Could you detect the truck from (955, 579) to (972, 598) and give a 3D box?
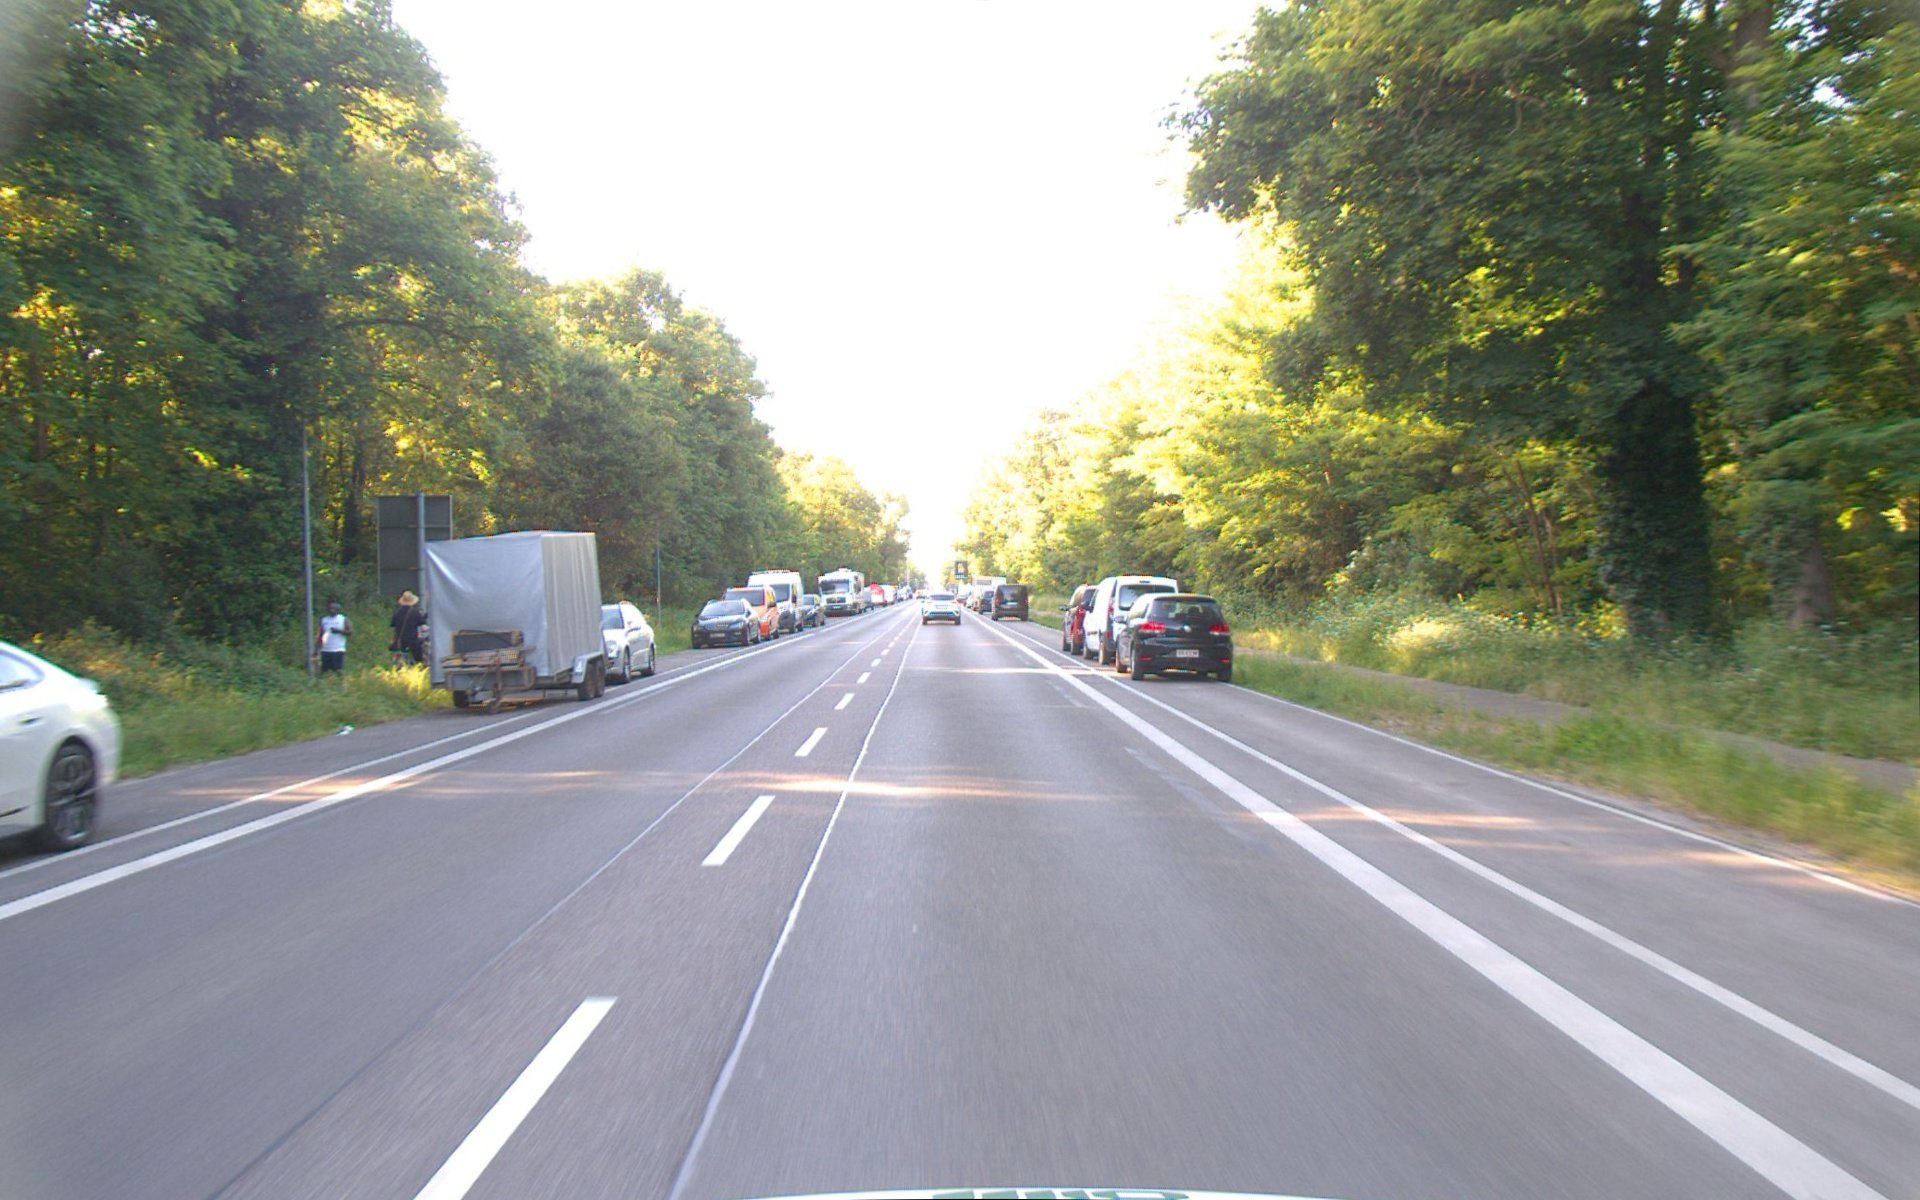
[{"bbox_3d":[0.466,-1.622,225.138,2.054,2.495,5.679,-1,0,-1],"label":"truck"}]

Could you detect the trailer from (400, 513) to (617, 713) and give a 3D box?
[{"bbox_3d":[-6.669,0.159,24.957,1.953,2.642,4.415,-3,0,-1],"label":"trailer"}]

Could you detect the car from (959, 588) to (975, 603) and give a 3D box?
[{"bbox_3d":[0.699,-0.461,170.214,1.622,1.504,3.753,-1,0,-1],"label":"car"}]

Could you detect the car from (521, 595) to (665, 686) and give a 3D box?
[{"bbox_3d":[-6.794,0.701,31.099,1.761,1.479,4.623,-3,0,-2],"label":"car"}]

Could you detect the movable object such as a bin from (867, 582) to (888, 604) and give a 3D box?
[{"bbox_3d":[-9.582,-0.818,191.666,2.275,2.545,3.999,-1,0,-1],"label":"movable object such as a bin"}]

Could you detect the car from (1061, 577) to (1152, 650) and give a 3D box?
[{"bbox_3d":[3.552,0.303,40.811,1.797,1.689,4.337,1,0,-1],"label":"car"}]

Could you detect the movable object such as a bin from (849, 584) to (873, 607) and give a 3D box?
[{"bbox_3d":[-9.126,-0.443,152.777,1.914,2.049,3.999,-1,0,-1],"label":"movable object such as a bin"}]

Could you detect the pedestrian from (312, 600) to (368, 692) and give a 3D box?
[{"bbox_3d":[-11.242,0.830,30.008,0.743,1.635,0.716,-1,0,-1],"label":"pedestrian"}]

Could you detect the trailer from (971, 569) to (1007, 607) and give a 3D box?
[{"bbox_3d":[2.332,-0.993,134.073,2.701,2.920,6.587,-1,0,-1],"label":"trailer"}]

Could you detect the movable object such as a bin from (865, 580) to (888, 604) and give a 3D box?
[{"bbox_3d":[-8.965,-0.853,177.082,2.275,2.545,3.999,-1,0,-1],"label":"movable object such as a bin"}]

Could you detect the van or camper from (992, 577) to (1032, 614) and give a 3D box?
[{"bbox_3d":[2.760,-0.252,89.321,1.953,1.966,5.198,0,0,-1],"label":"van or camper"}]

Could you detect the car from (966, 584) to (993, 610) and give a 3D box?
[{"bbox_3d":[1.311,-0.217,111.983,1.803,1.691,4.000,0,0,0],"label":"car"}]

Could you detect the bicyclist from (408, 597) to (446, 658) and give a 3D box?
[{"bbox_3d":[-11.153,0.563,34.649,0.477,1.256,0.974,-1,0,-1],"label":"bicyclist"}]

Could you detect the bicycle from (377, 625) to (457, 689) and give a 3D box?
[{"bbox_3d":[-9.622,0.987,29.387,0.638,1.026,2.396,-1,0,-1],"label":"bicycle"}]

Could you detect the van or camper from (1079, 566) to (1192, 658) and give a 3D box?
[{"bbox_3d":[3.720,0.230,35.676,1.911,1.847,4.380,-1,0,-1],"label":"van or camper"}]

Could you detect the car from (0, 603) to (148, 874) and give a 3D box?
[{"bbox_3d":[-6.508,0.866,9.210,1.739,1.567,4.523,-3,0,-1],"label":"car"}]

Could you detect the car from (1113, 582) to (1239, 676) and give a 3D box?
[{"bbox_3d":[3.775,0.469,29.473,1.656,1.551,4.149,0,0,-1],"label":"car"}]

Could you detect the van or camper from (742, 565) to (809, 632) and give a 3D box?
[{"bbox_3d":[-7.690,-0.101,69.549,2.077,2.617,6.541,-2,0,-1],"label":"van or camper"}]

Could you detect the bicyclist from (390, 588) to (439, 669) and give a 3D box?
[{"bbox_3d":[-9.653,0.491,29.272,0.592,1.398,0.799,-1,0,-1],"label":"bicyclist"}]

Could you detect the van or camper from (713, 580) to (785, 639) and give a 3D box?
[{"bbox_3d":[-7.380,0.304,58.252,1.884,1.899,4.862,-3,0,-1],"label":"van or camper"}]

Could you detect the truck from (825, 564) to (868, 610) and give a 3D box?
[{"bbox_3d":[-8.809,-1.032,129.705,2.652,3.406,10.922,-1,0,-1],"label":"truck"}]

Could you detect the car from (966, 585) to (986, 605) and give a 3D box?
[{"bbox_3d":[1.447,-0.483,150.060,1.697,1.713,3.999,-1,0,-1],"label":"car"}]

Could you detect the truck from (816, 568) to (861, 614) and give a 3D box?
[{"bbox_3d":[-8.614,-0.648,117.977,2.652,3.147,7.988,-1,0,-1],"label":"truck"}]

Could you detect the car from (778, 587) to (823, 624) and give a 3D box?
[{"bbox_3d":[-7.849,0.259,81.645,1.745,1.713,4.377,-3,0,-1],"label":"car"}]

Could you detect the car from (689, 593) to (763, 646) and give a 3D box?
[{"bbox_3d":[-7.310,0.576,52.001,1.696,1.503,4.324,-3,0,-1],"label":"car"}]

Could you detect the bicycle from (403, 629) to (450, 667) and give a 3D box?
[{"bbox_3d":[-11.146,0.996,34.607,0.511,0.725,1.487,-1,0,-1],"label":"bicycle"}]

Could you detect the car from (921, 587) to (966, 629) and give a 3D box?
[{"bbox_3d":[-0.775,0.354,77.854,1.987,1.872,4.028,-1,1,-1],"label":"car"}]

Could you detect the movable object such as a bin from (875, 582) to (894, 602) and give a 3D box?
[{"bbox_3d":[-9.739,-1.013,214.065,2.275,2.545,3.999,-1,0,-1],"label":"movable object such as a bin"}]
